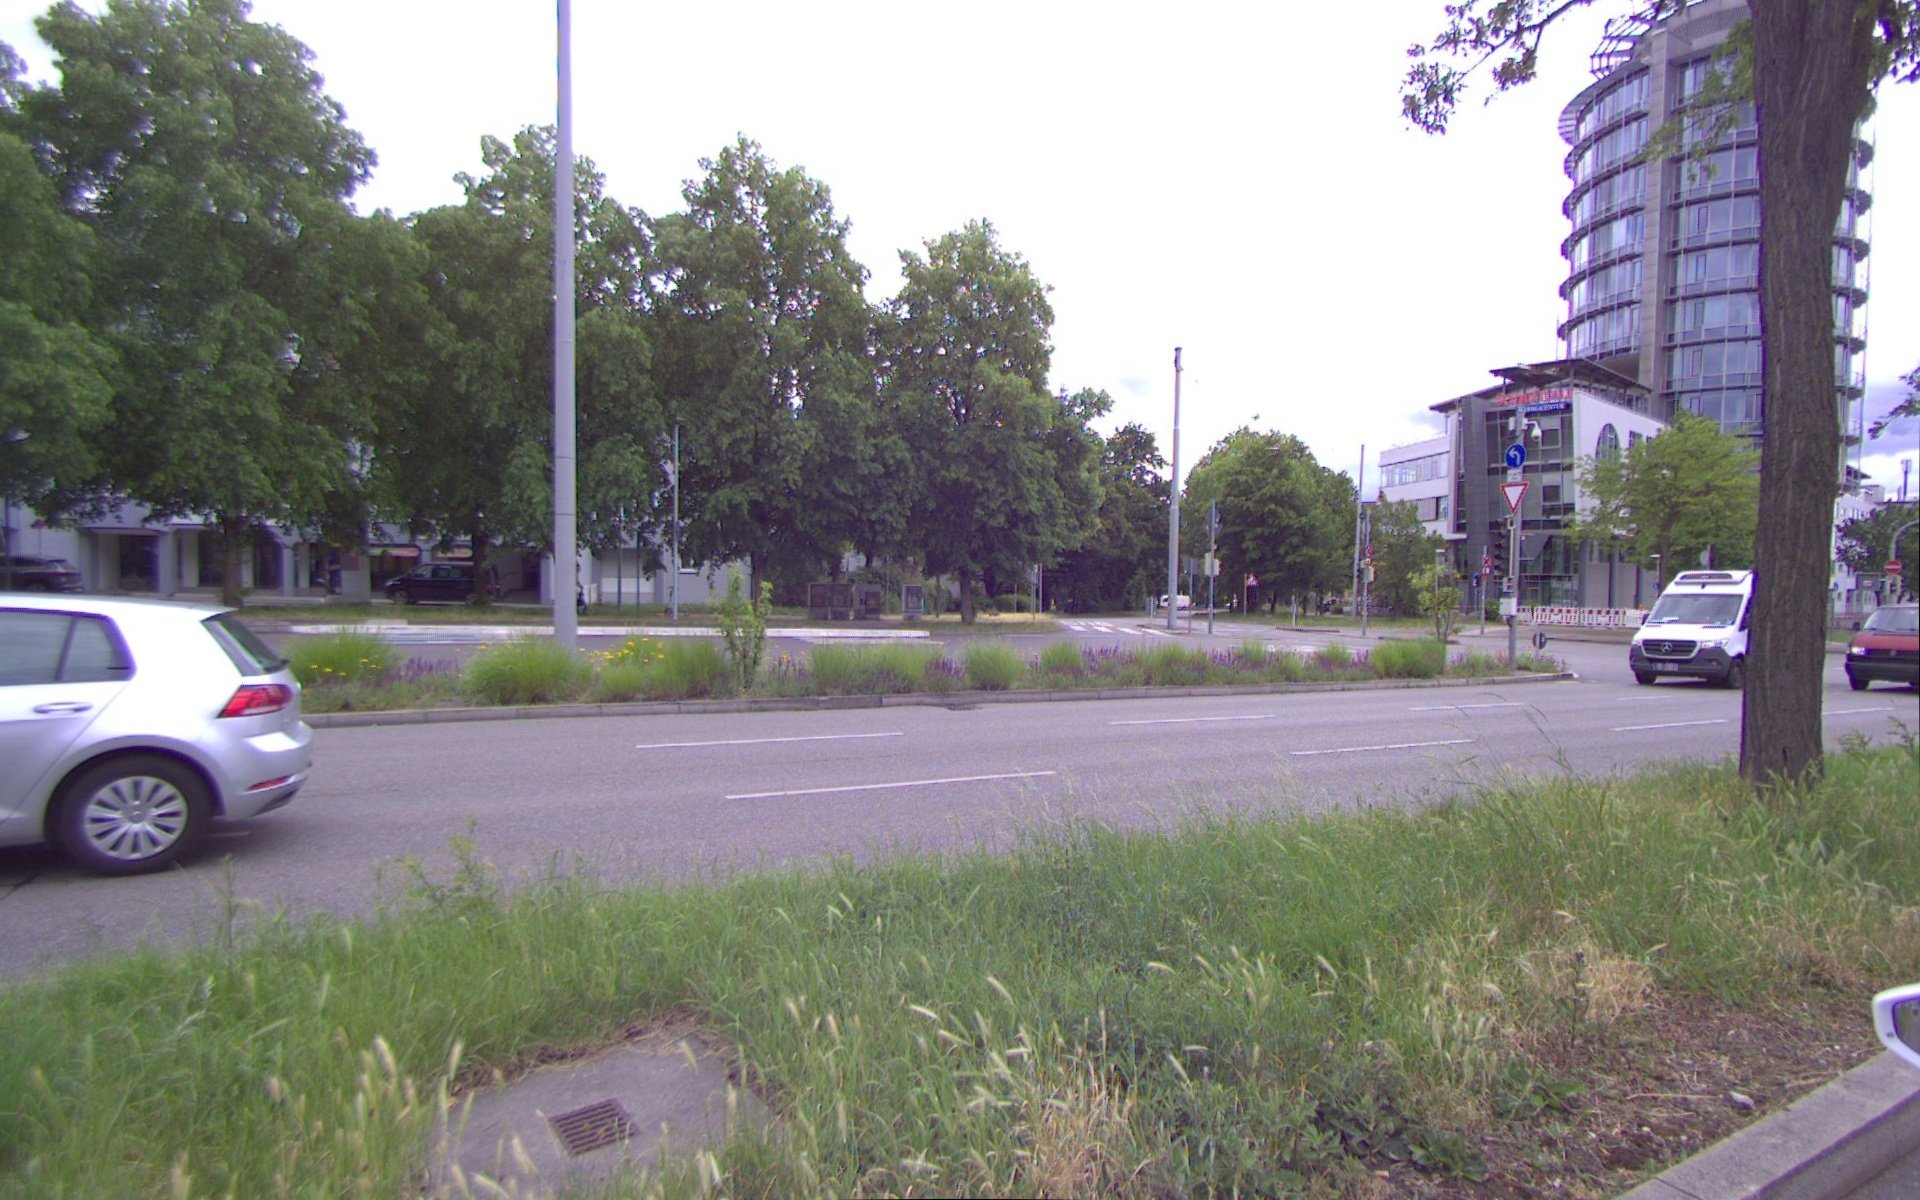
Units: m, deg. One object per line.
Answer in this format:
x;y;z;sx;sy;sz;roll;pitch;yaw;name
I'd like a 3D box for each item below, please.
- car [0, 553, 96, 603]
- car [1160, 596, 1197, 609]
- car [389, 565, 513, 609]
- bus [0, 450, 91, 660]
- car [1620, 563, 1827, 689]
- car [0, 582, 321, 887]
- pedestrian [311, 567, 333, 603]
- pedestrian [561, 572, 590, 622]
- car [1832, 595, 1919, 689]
-31.938;-0.745;33.612;4.190;1.602;1.987;1;1;-25;car
37.936;0.491;174.275;5.881;2.040;1.995;1;1;-13;car
-23.360;-0.602;46.272;4.736;1.857;1.994;1;1;-15;car
-20.730;-0.915;16.104;9.778;3.502;3.021;1;2;-26;bus
18.046;0.560;23.648;5.812;2.669;1.982;1;1;-33;car
-5.727;0.632;5.177;4.090;1.464;1.743;1;1;-33;car
-27.948;-0.649;43.996;0.658;1.568;0.656;1;1;-21;pedestrian
-13.438;-0.093;35.111;0.847;1.711;0.453;1;1;-30;pedestrian
21.869;0.911;22.590;4.915;1.943;1.926;1;0;-30;car
